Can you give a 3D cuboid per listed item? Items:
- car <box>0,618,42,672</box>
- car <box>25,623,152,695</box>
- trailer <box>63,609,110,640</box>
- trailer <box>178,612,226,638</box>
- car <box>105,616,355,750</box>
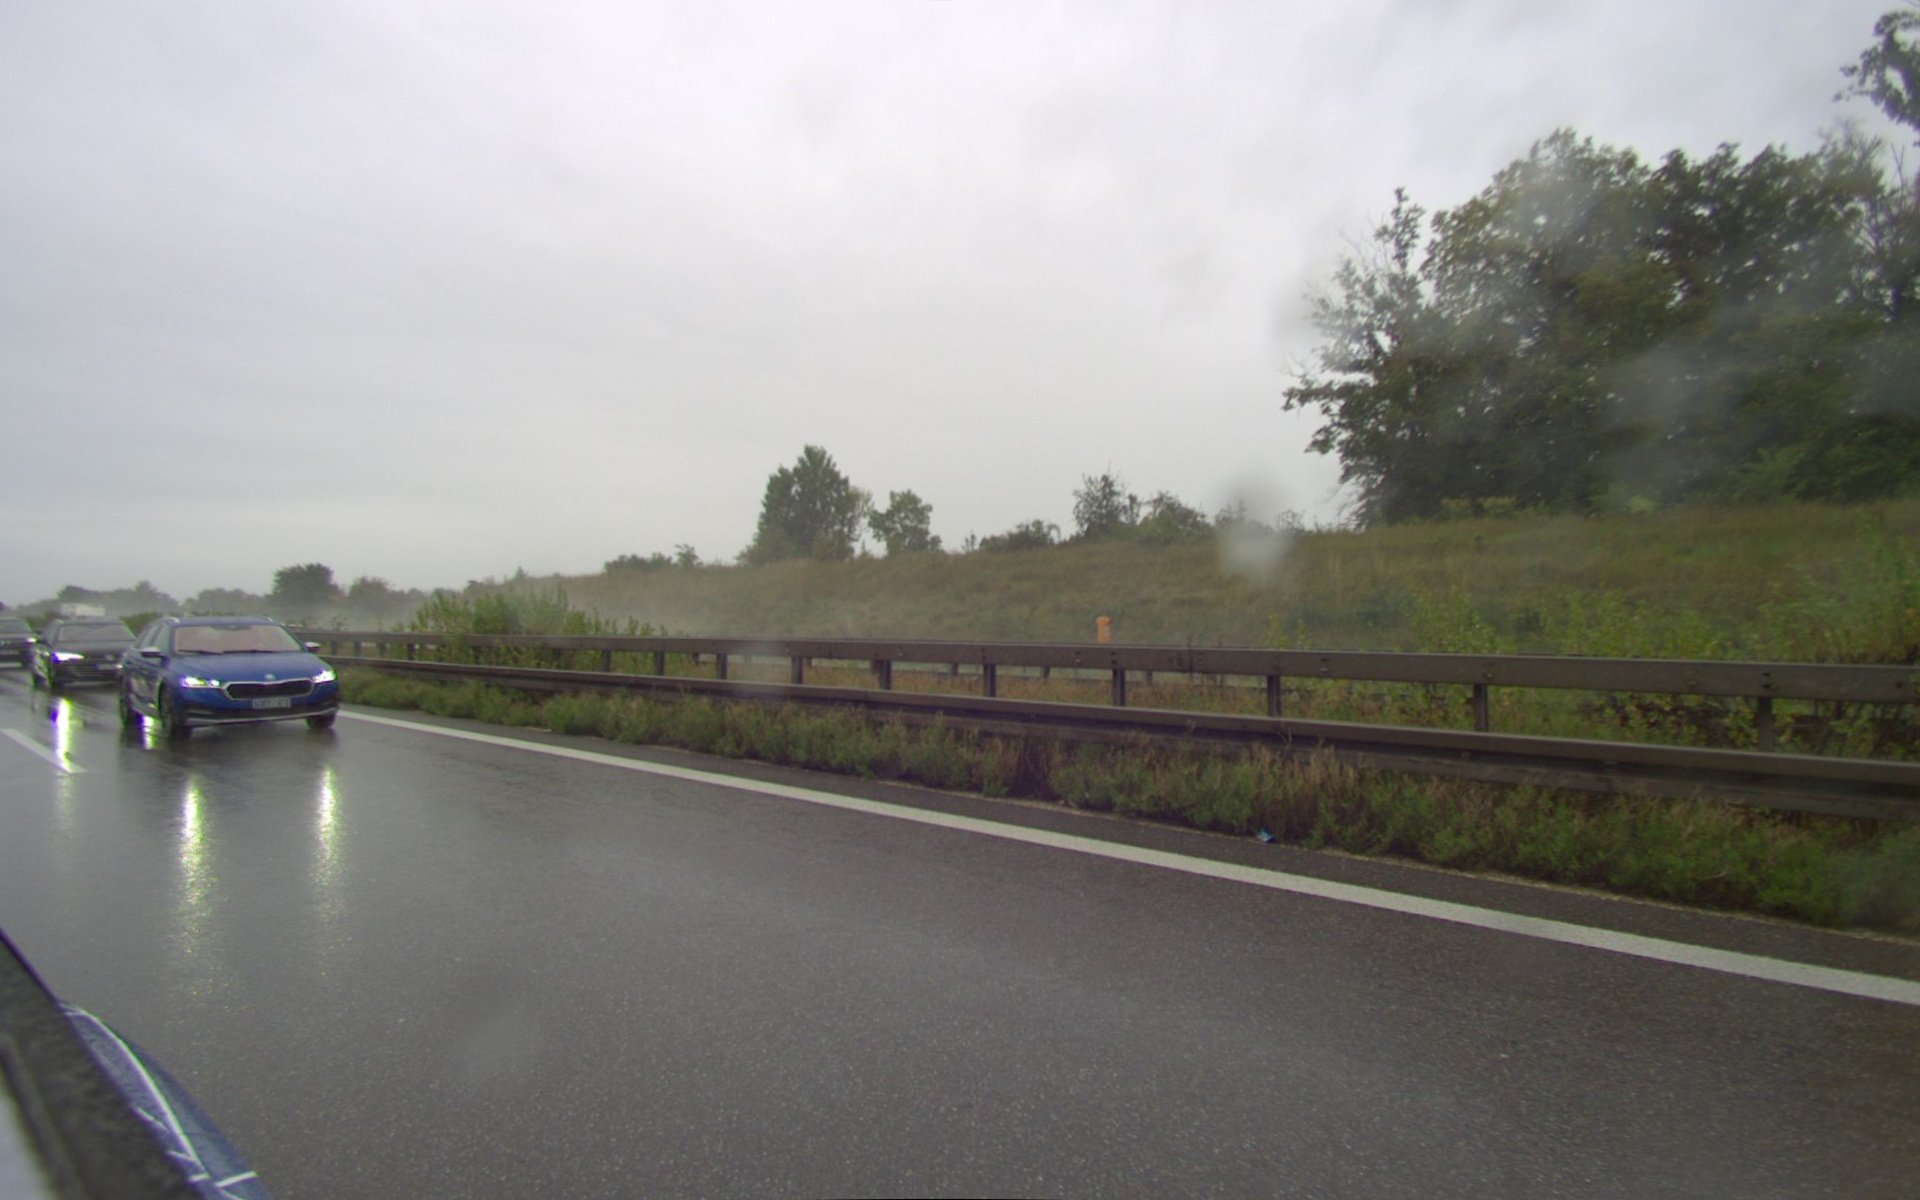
[{"bbox_3d":[-31.054,1.424,32.478,4.267,1.644,1.864,-2,-1,41],"label":"car"},{"bbox_3d":[-19.757,1.278,22.882,4.368,1.447,1.592,-2,-1,41],"label":"car"},{"bbox_3d":[-82.915,2.331,96.053,7.323,2.740,2.455,0,-2,42],"label":"trailer"},{"bbox_3d":[-62.583,2.073,83.548,5.347,2.029,2.070,0,-2,41],"label":"trailer"},{"bbox_3d":[-9.855,0.991,13.520,4.510,1.487,1.767,-2,-1,41],"label":"car"}]
